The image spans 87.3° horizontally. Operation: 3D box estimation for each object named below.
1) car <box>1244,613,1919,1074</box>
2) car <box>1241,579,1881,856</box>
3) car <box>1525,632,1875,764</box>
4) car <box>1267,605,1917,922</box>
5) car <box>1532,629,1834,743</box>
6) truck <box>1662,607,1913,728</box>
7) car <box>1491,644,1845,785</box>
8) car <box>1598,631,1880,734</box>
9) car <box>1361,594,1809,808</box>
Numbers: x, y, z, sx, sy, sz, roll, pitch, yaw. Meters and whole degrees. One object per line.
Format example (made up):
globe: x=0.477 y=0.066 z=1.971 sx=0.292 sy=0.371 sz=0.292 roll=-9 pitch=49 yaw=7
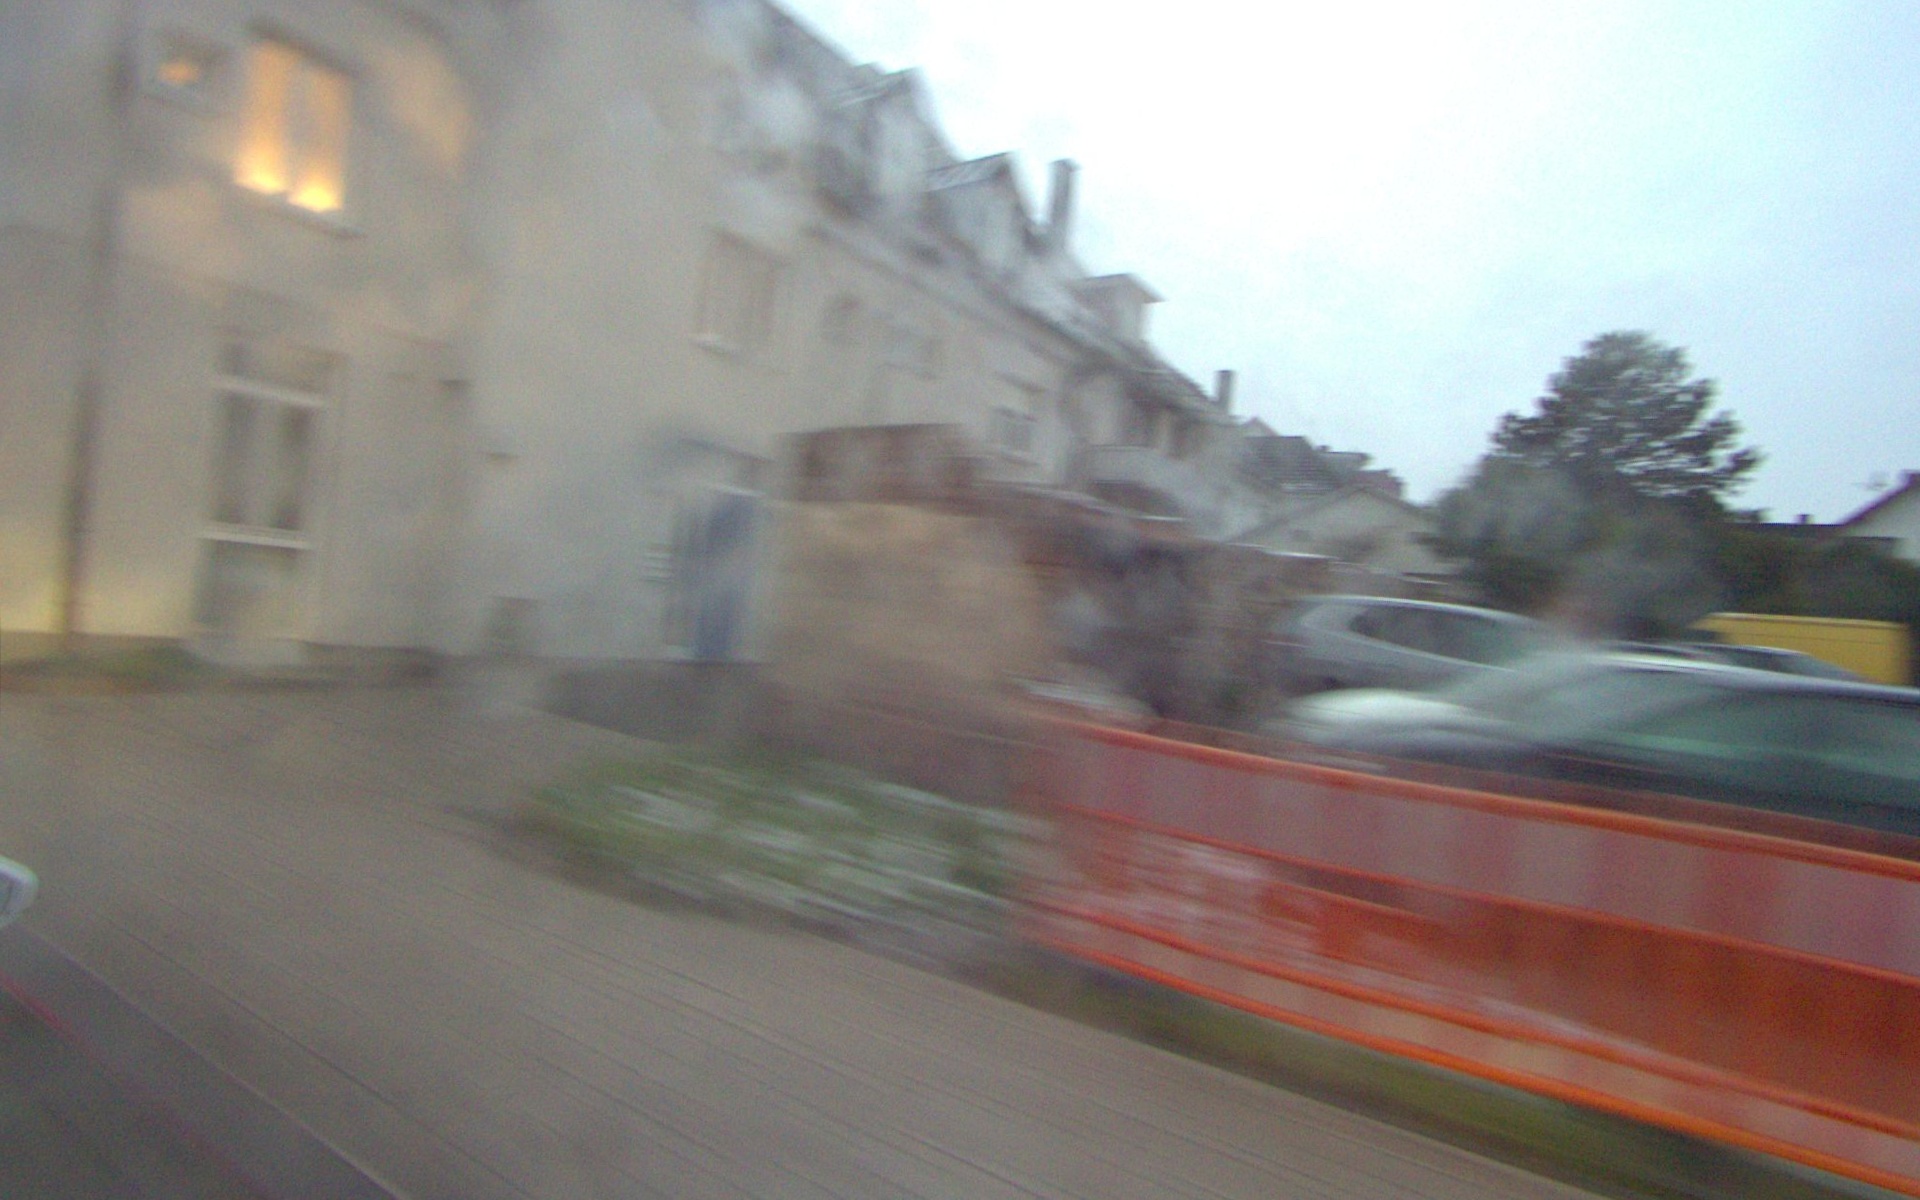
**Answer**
car: x=3.491 y=1.031 z=4.927 sx=3.686 sy=1.426 sz=1.784 roll=9 pitch=3 yaw=24
car: x=5.533 y=0.935 z=9.960 sx=4.842 sy=1.614 sz=1.781 roll=9 pitch=4 yaw=31
car: x=11.562 y=1.423 z=15.946 sx=4.182 sy=1.345 sz=1.776 roll=8 pitch=4 yaw=41
car: x=4.381 y=1.013 z=7.607 sx=3.615 sy=1.454 sz=1.665 roll=9 pitch=3 yaw=24
car: x=13.004 y=1.449 z=18.267 sx=4.182 sy=1.345 sz=1.776 roll=8 pitch=4 yaw=41
truck: x=19.459 y=1.500 z=23.811 sx=1.772 sy=2.215 sz=4.189 roll=2 pitch=4 yaw=-43
car: x=9.754 y=1.466 z=14.035 sx=3.757 sy=1.256 sz=1.719 roll=7 pitch=3 yaw=41
car: x=15.354 y=1.541 z=20.015 sx=4.182 sy=1.345 sz=1.776 roll=8 pitch=4 yaw=41
car: x=7.336 y=1.049 z=12.083 sx=4.181 sy=1.644 sz=1.777 roll=10 pitch=4 yaw=41
